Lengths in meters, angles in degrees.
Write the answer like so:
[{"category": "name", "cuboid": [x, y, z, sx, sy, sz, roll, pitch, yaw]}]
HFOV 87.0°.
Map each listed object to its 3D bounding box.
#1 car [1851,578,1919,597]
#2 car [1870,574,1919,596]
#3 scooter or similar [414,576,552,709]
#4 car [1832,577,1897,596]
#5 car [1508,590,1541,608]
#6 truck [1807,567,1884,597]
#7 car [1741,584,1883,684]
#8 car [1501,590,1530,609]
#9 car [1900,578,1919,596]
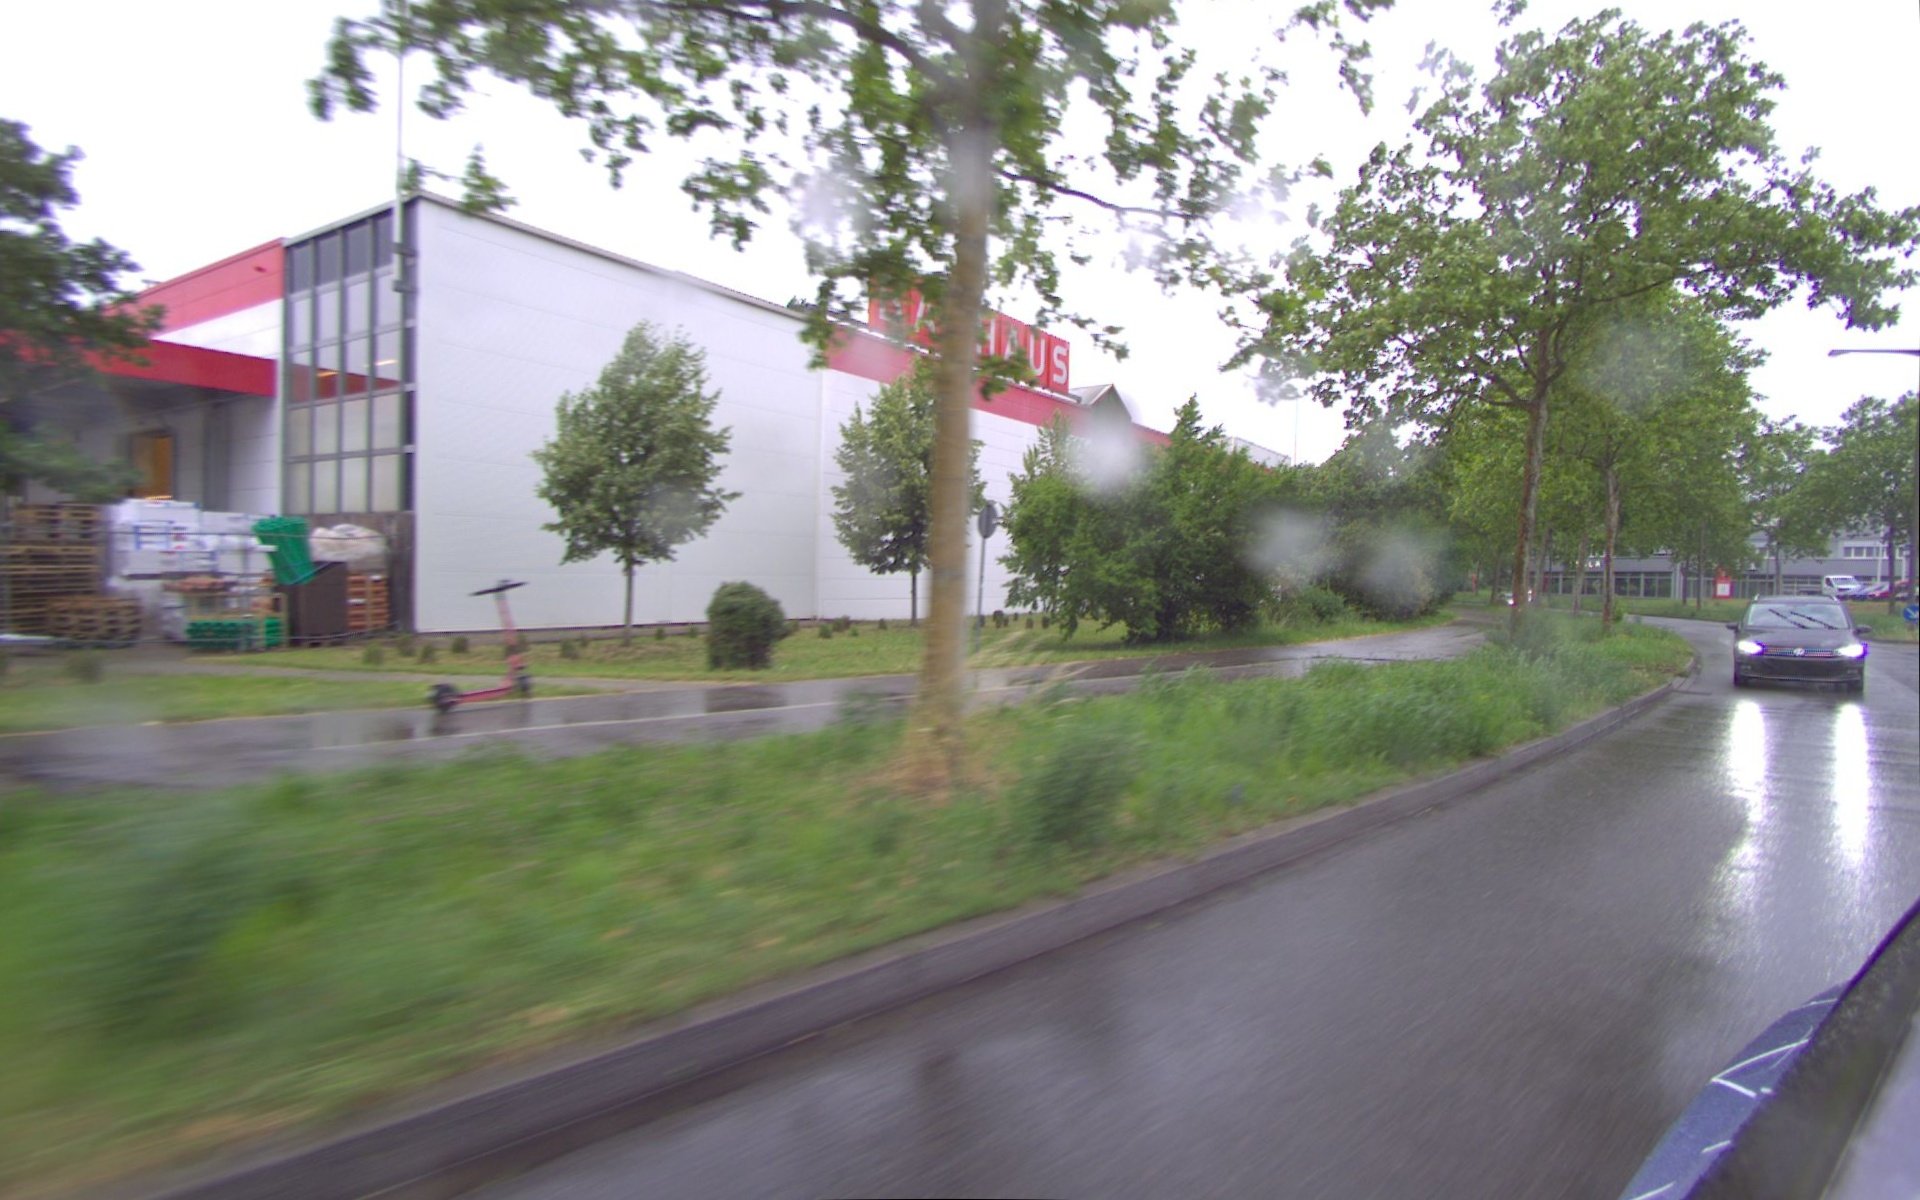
[{"category": "car", "cuboid": [73.184, -0.994, 80.094, 3.481, 1.343, 1.761, -2, -1, 13]}, {"category": "car", "cuboid": [72.751, -1.144, 77.614, 3.948, 1.577, 1.840, -2, -1, 14]}, {"category": "scooter or similar", "cuboid": [-4.647, 0.384, 9.901, 0.546, 1.213, 1.099, 1, 1, 31]}, {"category": "car", "cuboid": [73.721, -1.092, 82.521, 3.481, 1.343, 1.761, -2, -1, 13]}, {"category": "car", "cuboid": [53.245, -0.096, 95.520, 1.759, 1.575, 3.983, 1, 1, 14]}, {"category": "truck", "cuboid": [75.649, -1.517, 86.583, 2.220, 2.374, 6.168, -2, -1, 14]}, {"category": "car", "cuboid": [15.525, 0.529, 18.515, 1.777, 1.575, 3.942, 2, 2, 40]}, {"category": "car", "cuboid": [49.260, -0.054, 89.788, 1.764, 1.575, 3.972, 1, 1, 21]}, {"category": "car", "cuboid": [72.502, -1.026, 74.785, 3.948, 1.375, 1.840, -2, -1, 14]}]
